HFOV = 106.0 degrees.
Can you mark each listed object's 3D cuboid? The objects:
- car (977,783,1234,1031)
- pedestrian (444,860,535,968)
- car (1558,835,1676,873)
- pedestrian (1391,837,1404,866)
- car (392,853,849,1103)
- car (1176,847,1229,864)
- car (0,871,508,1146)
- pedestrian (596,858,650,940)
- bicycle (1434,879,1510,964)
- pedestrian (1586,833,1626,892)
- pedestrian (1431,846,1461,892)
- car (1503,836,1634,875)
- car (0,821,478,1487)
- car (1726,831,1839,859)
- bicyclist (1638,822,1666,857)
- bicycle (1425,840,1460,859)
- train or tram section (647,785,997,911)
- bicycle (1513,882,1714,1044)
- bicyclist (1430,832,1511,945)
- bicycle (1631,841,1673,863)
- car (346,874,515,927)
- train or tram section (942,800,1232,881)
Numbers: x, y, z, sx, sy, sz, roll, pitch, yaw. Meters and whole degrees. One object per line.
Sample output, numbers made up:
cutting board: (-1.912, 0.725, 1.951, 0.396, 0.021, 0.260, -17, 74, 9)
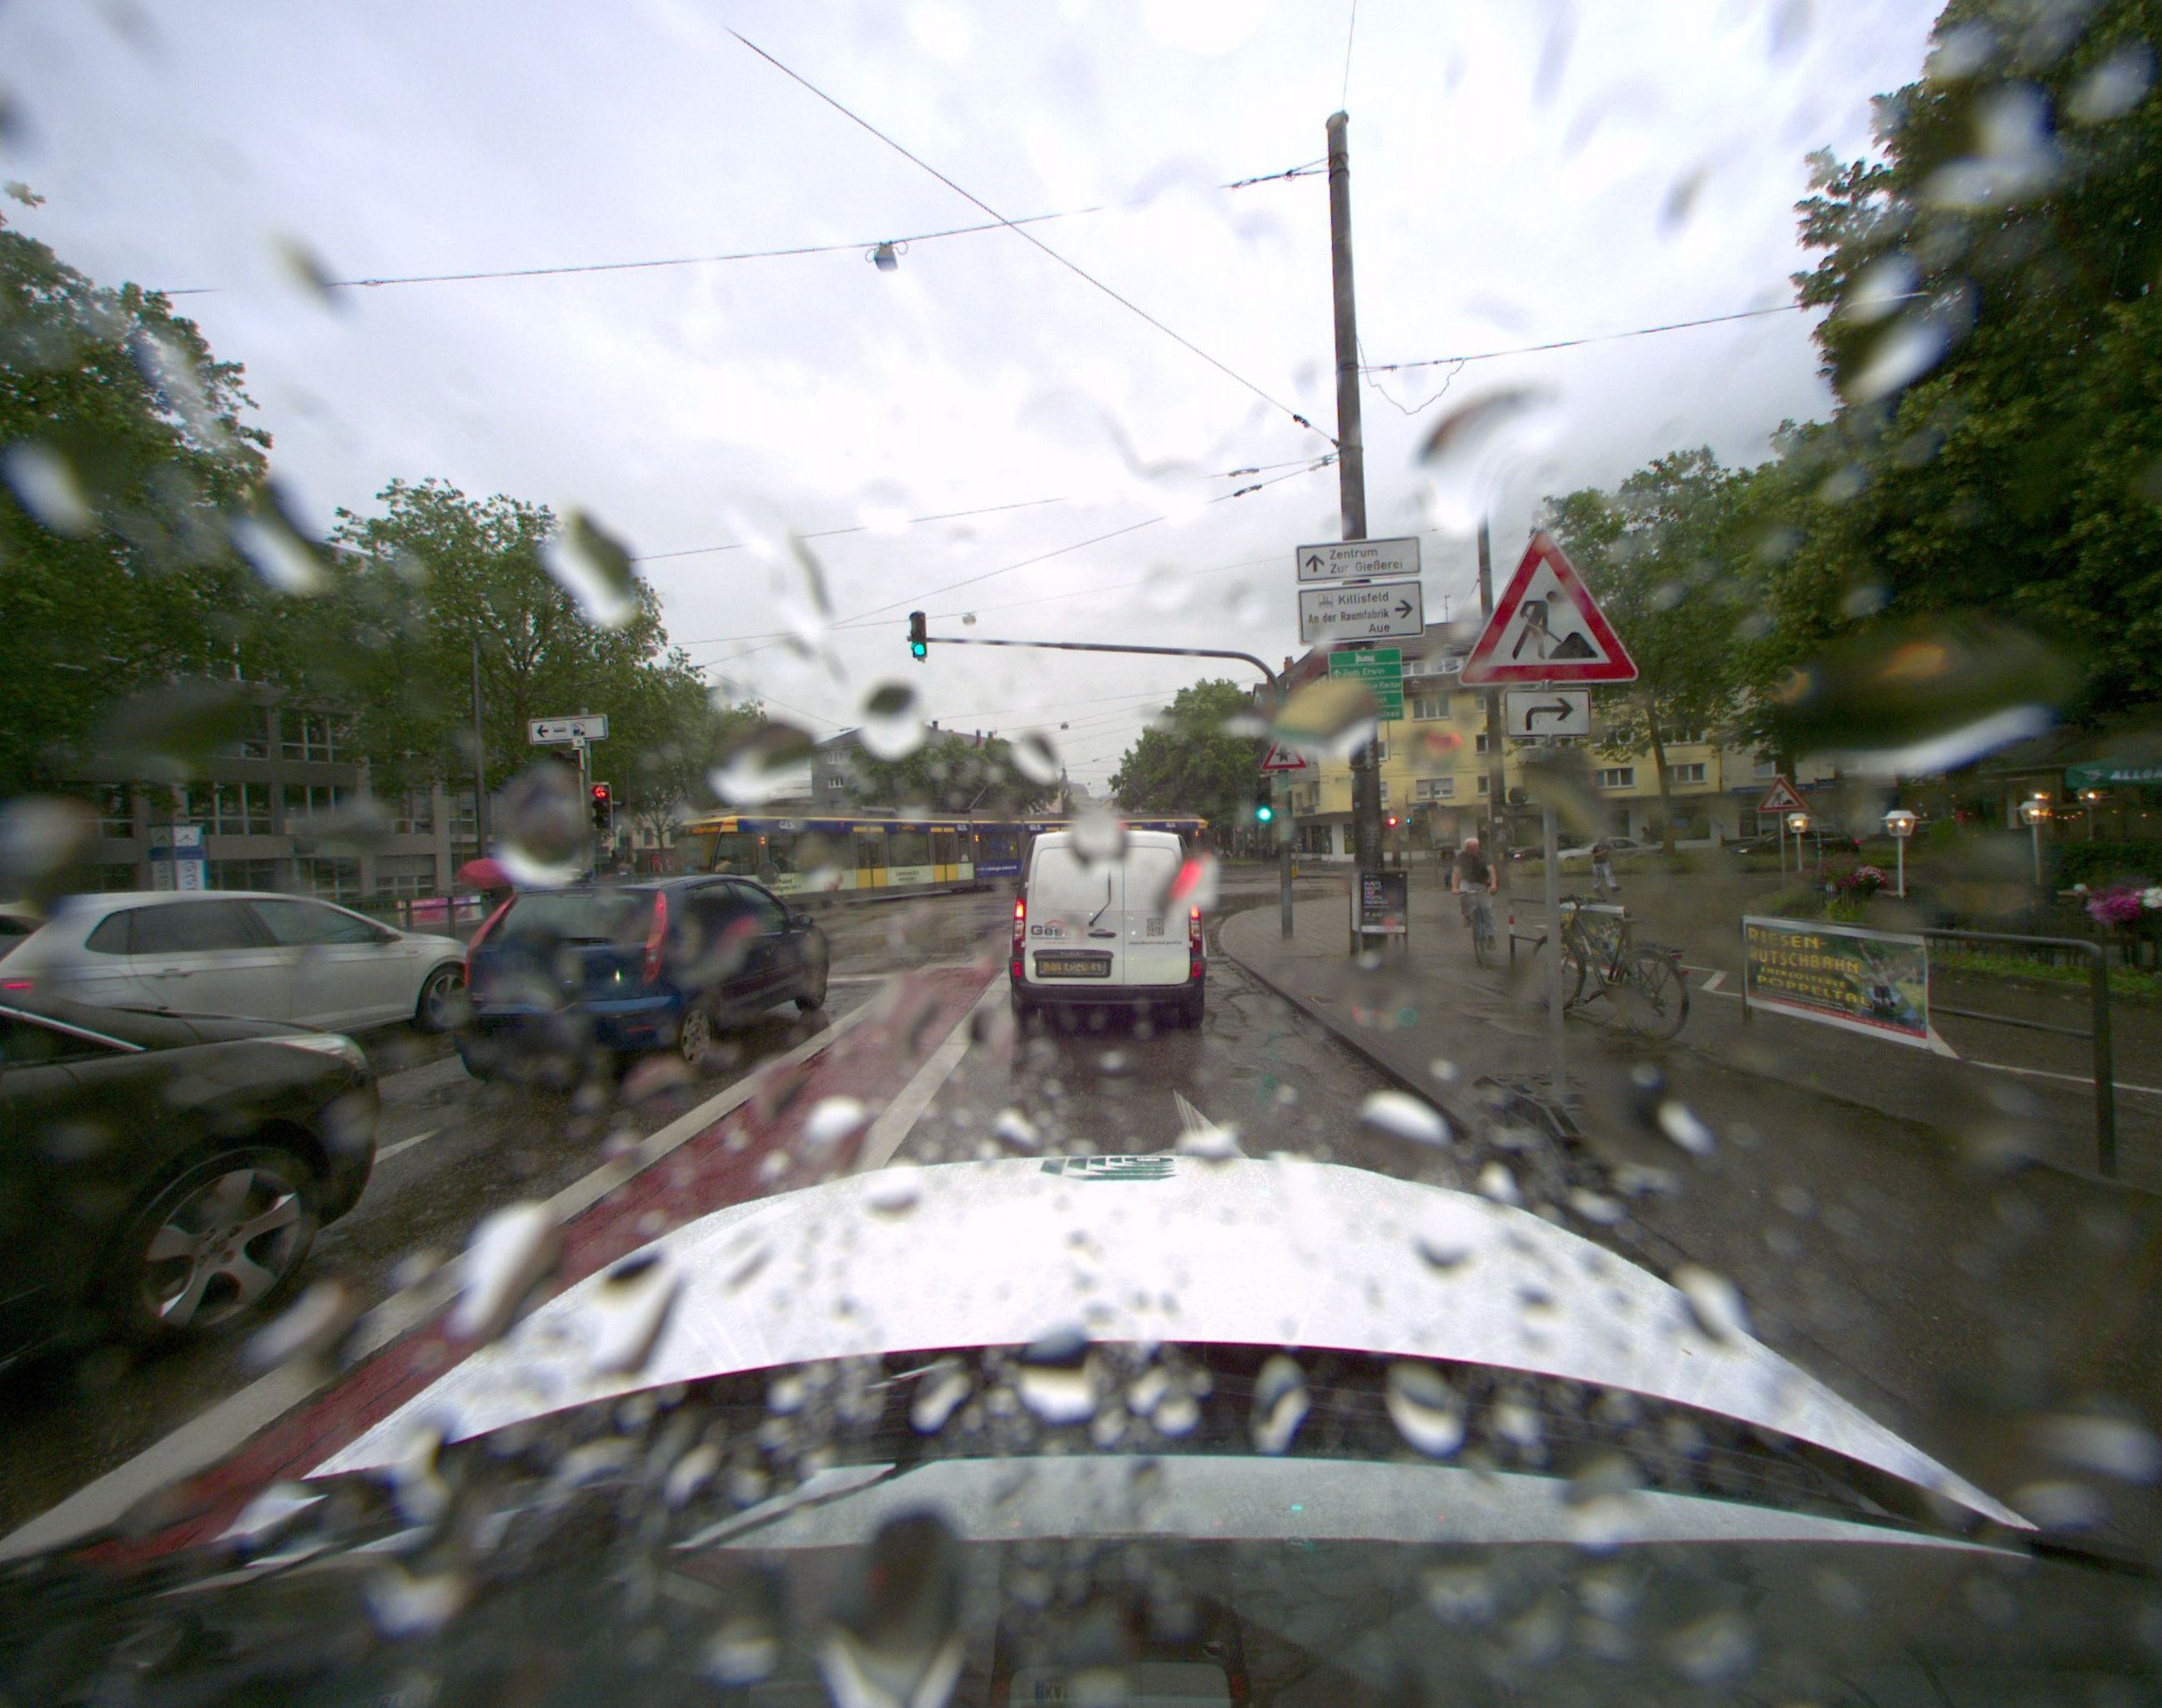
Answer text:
car: (0.278, 0.464, 9.281, 2.092, 2.012, 4.965, -2, -1, 2)
pedestrian: (-10.246, 1.016, 14.142, 0.763, 1.746, 0.899, -4, 1, 1)
car: (22.987, 0.006, 35.085, 3.906, 1.490, 1.815, -1, 1, 17)
pedestrian: (16.801, -0.126, 43.184, 0.615, 1.500, 0.555, -1, -1, 23)
car: (-3.516, 0.805, 7.152, 1.720, 1.578, 3.822, -1, 0, 2)
car: (10.281, 0.119, 69.013, 4.160, 1.339, 1.518, -2, 1, -6)
car: (-6.789, 0.928, 6.524, 1.623, 1.494, 3.783, -1, 0, 2)
pedestrian: (-9.285, 0.891, 16.537, 0.622, 1.607, 0.743, -1, 0, 4)
bicycle: (5.659, 0.939, 11.872, 0.456, 1.027, 1.906, -1, 1, 9)
pedestrian: (15.306, 0.241, 23.766, 0.896, 1.669, 1.026, -1, 0, 29)
pedestrian: (12.536, 0.504, 27.959, 0.820, 1.534, 0.616, -1, -1, -37)
car: (22.853, 0.105, 38.376, 4.902, 1.643, 2.007, -1, -3, 14)
car: (-3.648, 0.764, 1.521, 1.827, 1.668, 4.174, -1, 0, 2)
car: (29.276, -0.381, 34.038, 3.511, 1.082, 1.248, -1, 0, 4)
bicyclist: (26.472, -0.673, 37.766, 0.810, 1.615, 0.711, -1, 0, 2)
bicycle: (24.324, -0.303, 54.862, 2.085, 1.261, 0.534, -1, 1, 16)
train or tram section: (-8.278, -0.166, 29.662, 3.480, 3.512, 13.740, 0, 0, 27)
bicycle: (4.485, 0.845, 7.049, 0.512, 1.107, 2.018, 1, 0, 3)
bicyclist: (5.657, 0.487, 11.884, 0.872, 1.583, 0.863, -1, 0, 12)
bicycle: (26.455, -0.095, 37.761, 1.631, 1.002, 0.422, -1, 0, 2)
car: (-18.601, 1.299, 23.485, 1.582, 1.314, 3.538, -1, 0, 16)
train or tram section: (0.869, -0.568, 40.651, 15.573, 3.413, 3.513, 0, 0, -37)
